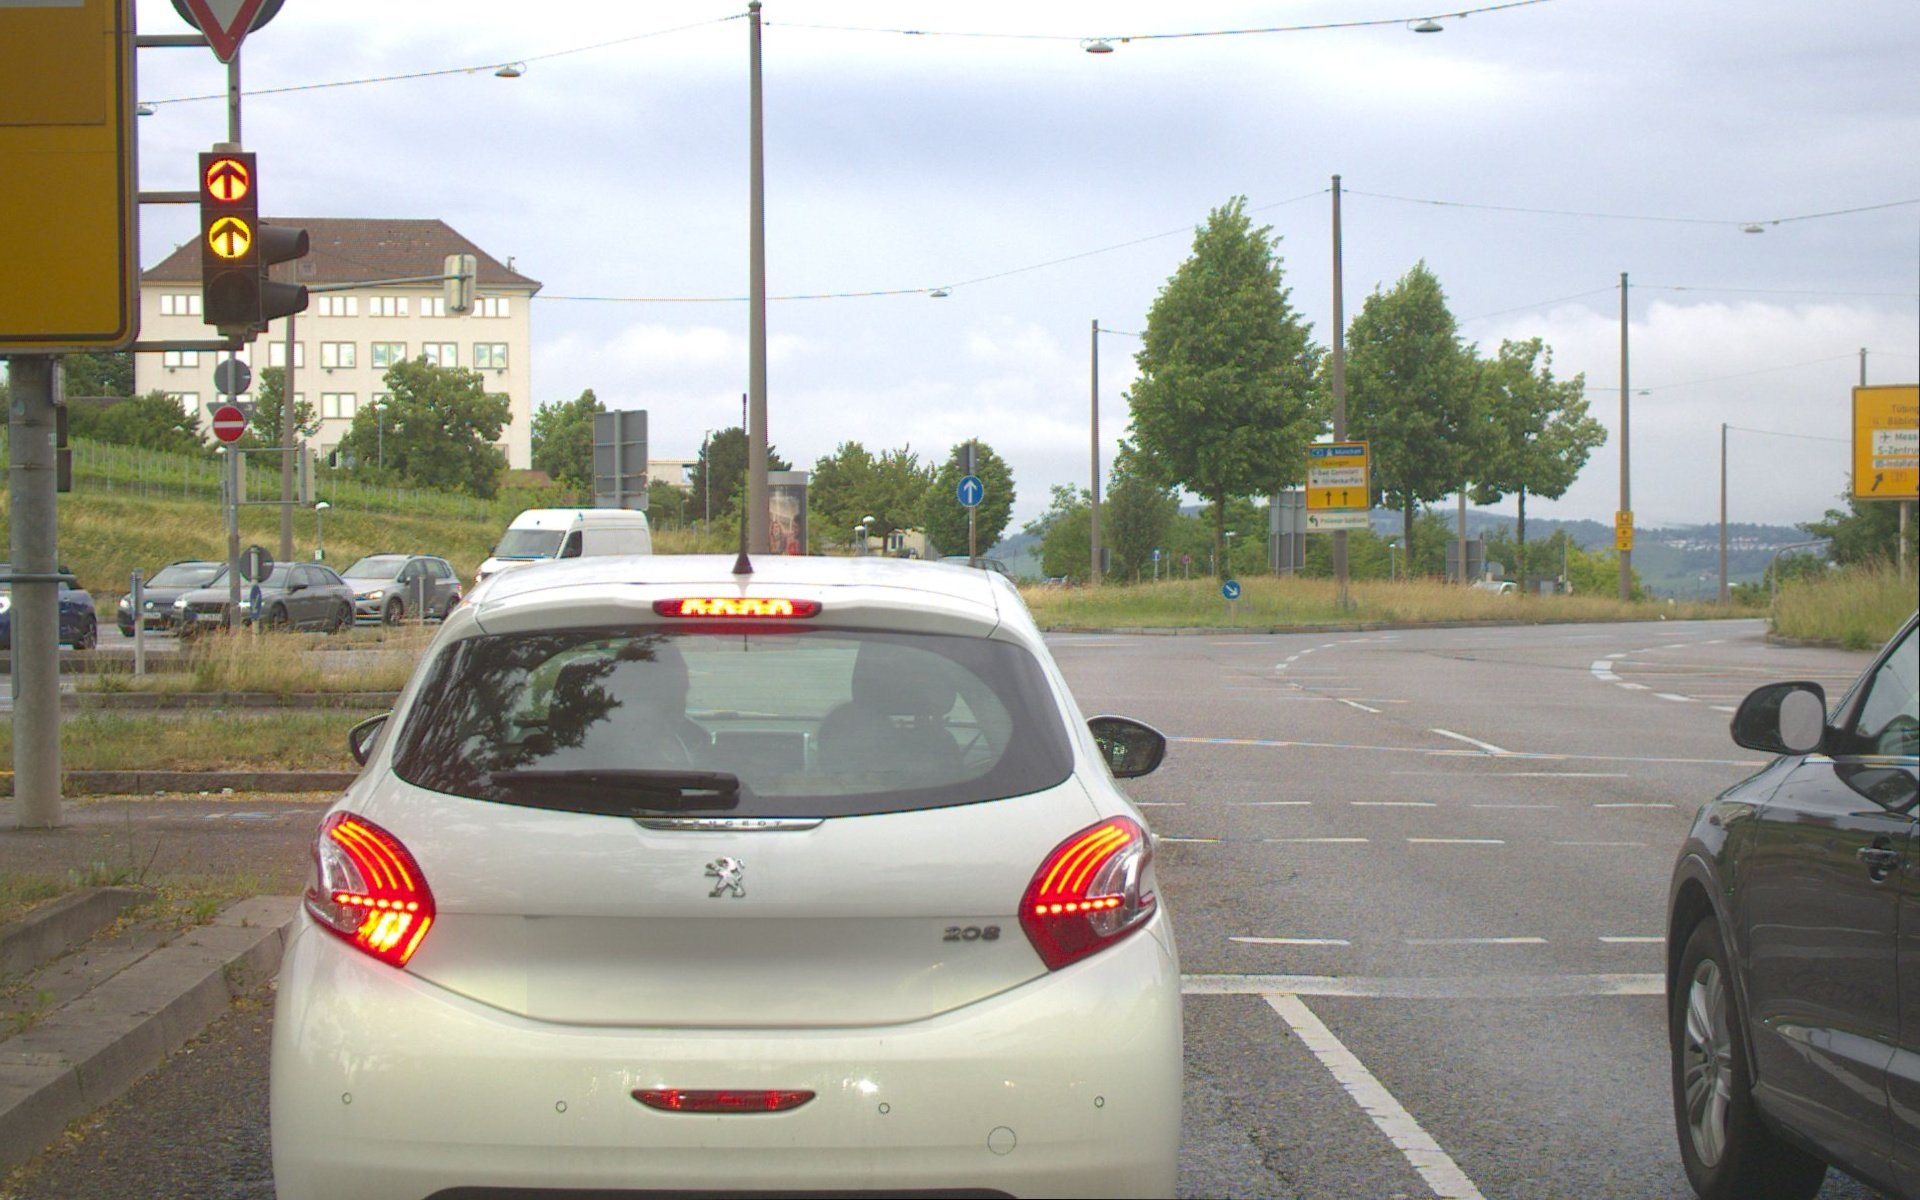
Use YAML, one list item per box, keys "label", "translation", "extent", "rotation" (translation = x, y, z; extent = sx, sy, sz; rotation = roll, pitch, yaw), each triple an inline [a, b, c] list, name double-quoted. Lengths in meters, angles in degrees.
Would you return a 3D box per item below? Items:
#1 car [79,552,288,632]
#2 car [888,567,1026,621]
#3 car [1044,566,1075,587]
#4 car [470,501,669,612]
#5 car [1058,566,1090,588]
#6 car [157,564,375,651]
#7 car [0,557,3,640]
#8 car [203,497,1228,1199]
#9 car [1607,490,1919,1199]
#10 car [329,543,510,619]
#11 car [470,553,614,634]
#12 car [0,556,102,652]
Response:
- label: "car"
  translation: [-15.237, -0.183, 67.730]
  extent: [1.826, 1.467, 4.664]
  rotation: [0, 2, 19]
- label: "car"
  translation: [-0.075, -0.178, 102.640]
  extent: [1.998, 1.507, 4.223]
  rotation: [2, 0, 35]
- label: "car"
  translation: [7.103, -1.676, 245.737]
  extent: [1.841, 1.481, 4.001]
  rotation: [0, 1, -3]
- label: "car"
  translation: [-9.522, -1.026, 84.476]
  extent: [1.996, 2.550, 6.162]
  rotation: [2, 0, 23]
- label: "car"
  translation: [7.854, -1.602, 237.358]
  extent: [1.841, 1.481, 4.001]
  rotation: [0, 1, -3]
- label: "car"
  translation: [-12.636, 0.136, 62.926]
  extent: [1.902, 1.484, 4.888]
  rotation: [2, 0, 15]
- label: "car"
  translation: [-17.193, -0.044, 55.938]
  extent: [1.787, 1.391, 3.881]
  rotation: [2, 0, 6]
- label: "car"
  translation: [-0.465, 0.564, 7.819]
  extent: [1.717, 1.484, 4.000]
  rotation: [1, 0, -1]
- label: "car"
  translation: [2.588, 0.630, 6.344]
  extent: [1.884, 1.590, 4.114]
  rotation: [2, 0, -1]
- label: "car"
  translation: [-11.894, -0.407, 75.956]
  extent: [1.996, 1.570, 4.190]
  rotation: [2, 0, 23]
- label: "car"
  translation: [-7.537, -0.122, 62.381]
  extent: [1.776, 1.420, 4.373]
  rotation: [0, 0, 4]
- label: "car"
  translation: [-14.504, 0.052, 51.845]
  extent: [1.787, 1.391, 3.881]
  rotation: [1, 0, 6]
